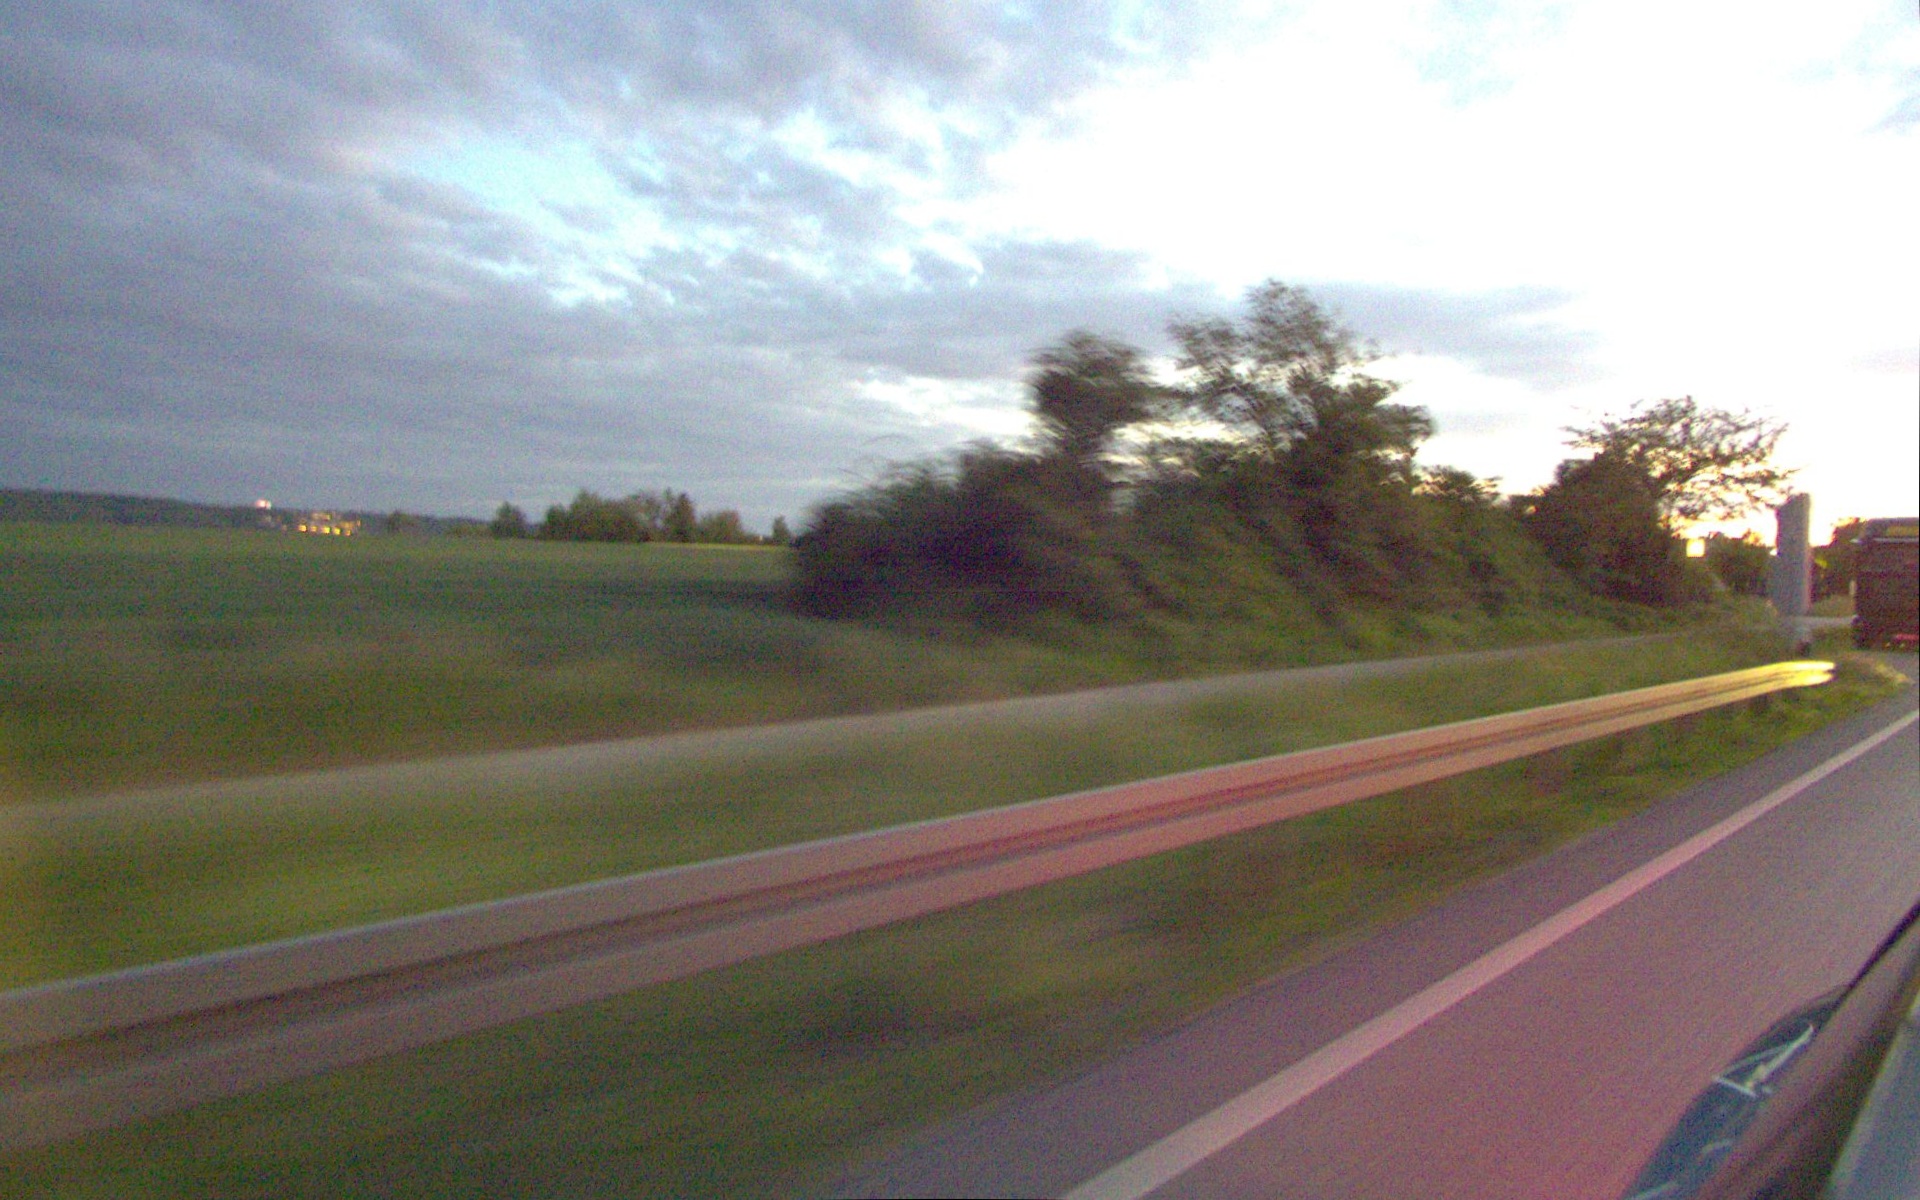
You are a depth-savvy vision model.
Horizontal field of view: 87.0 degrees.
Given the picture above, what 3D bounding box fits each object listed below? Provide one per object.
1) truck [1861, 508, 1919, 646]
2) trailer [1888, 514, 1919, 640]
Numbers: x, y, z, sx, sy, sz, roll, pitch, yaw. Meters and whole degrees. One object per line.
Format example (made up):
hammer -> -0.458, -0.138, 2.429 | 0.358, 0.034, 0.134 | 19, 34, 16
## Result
truck -> 28.832, -0.679, 29.886 | 5.400, 3.847, 2.490 | -1, 0, -39
trailer -> 34.623, -0.762, 34.718 | 12.446, 3.860, 2.473 | -1, 0, -40
